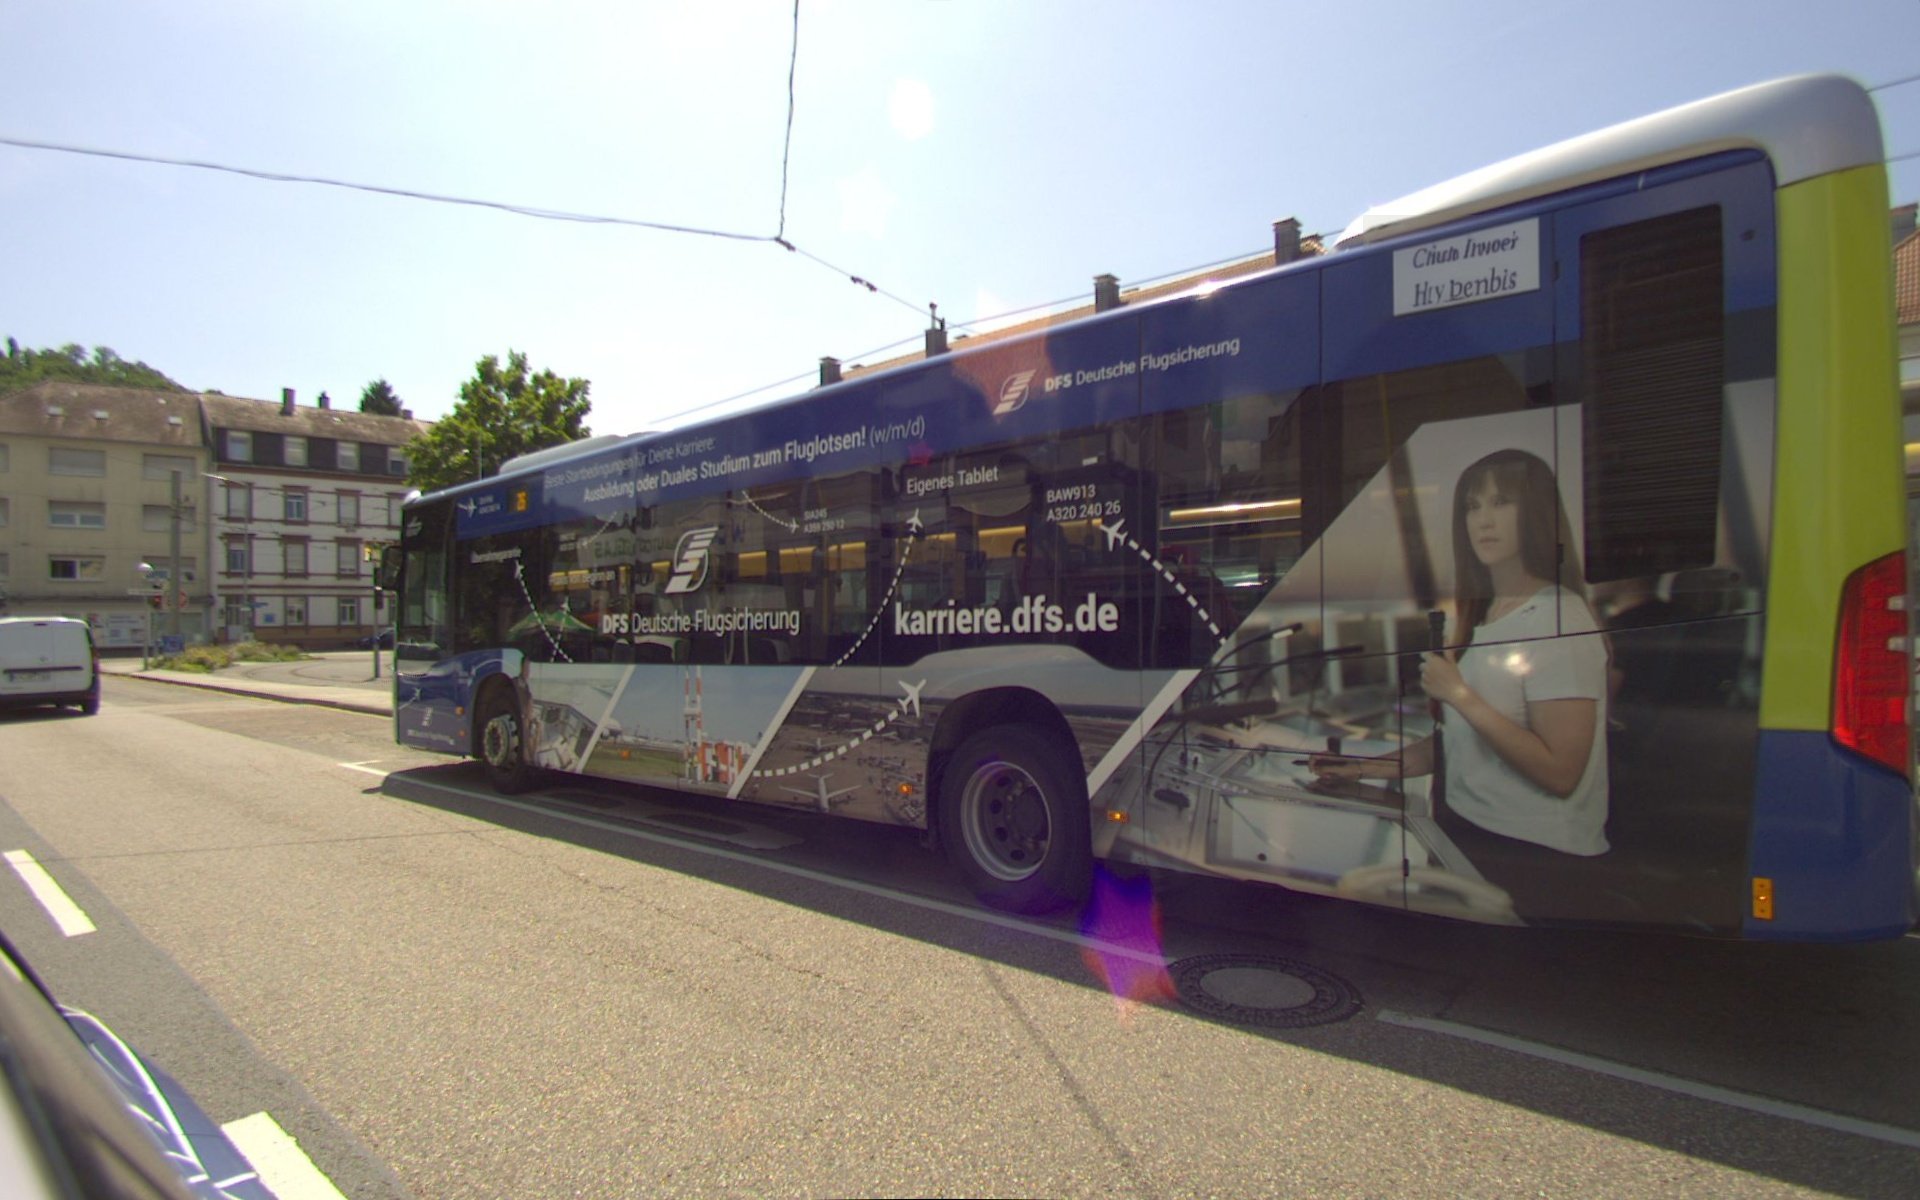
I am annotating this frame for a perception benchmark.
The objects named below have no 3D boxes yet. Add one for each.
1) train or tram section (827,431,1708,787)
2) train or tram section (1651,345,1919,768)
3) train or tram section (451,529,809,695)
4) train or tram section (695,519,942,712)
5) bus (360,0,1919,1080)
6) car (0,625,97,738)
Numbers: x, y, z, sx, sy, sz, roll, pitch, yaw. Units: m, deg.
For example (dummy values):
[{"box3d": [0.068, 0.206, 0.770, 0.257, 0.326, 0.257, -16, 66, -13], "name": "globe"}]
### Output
[{"box3d": [3.301, 0.244, 15.346, 12.653, 3.521, 2.932, -2, 0, 42], "name": "train or tram section"}, {"box3d": [14.348, -0.619, 5.354, 17.346, 3.670, 2.932, -2, 0, 42], "name": "train or tram section"}, {"box3d": [-9.274, 0.412, 26.695, 12.709, 3.521, 2.932, -2, 0, 42], "name": "train or tram section"}, {"box3d": [-2.980, 0.372, 20.987, 4.416, 3.522, 2.932, -2, -3, 42], "name": "train or tram section"}, {"box3d": [-0.741, -0.368, 7.611, 12.034, 3.452, 2.878, -1, 1, 41], "name": "bus"}, {"box3d": [-17.963, 1.445, 19.078, 4.707, 1.864, 1.687, -1, 1, 39], "name": "car"}]
